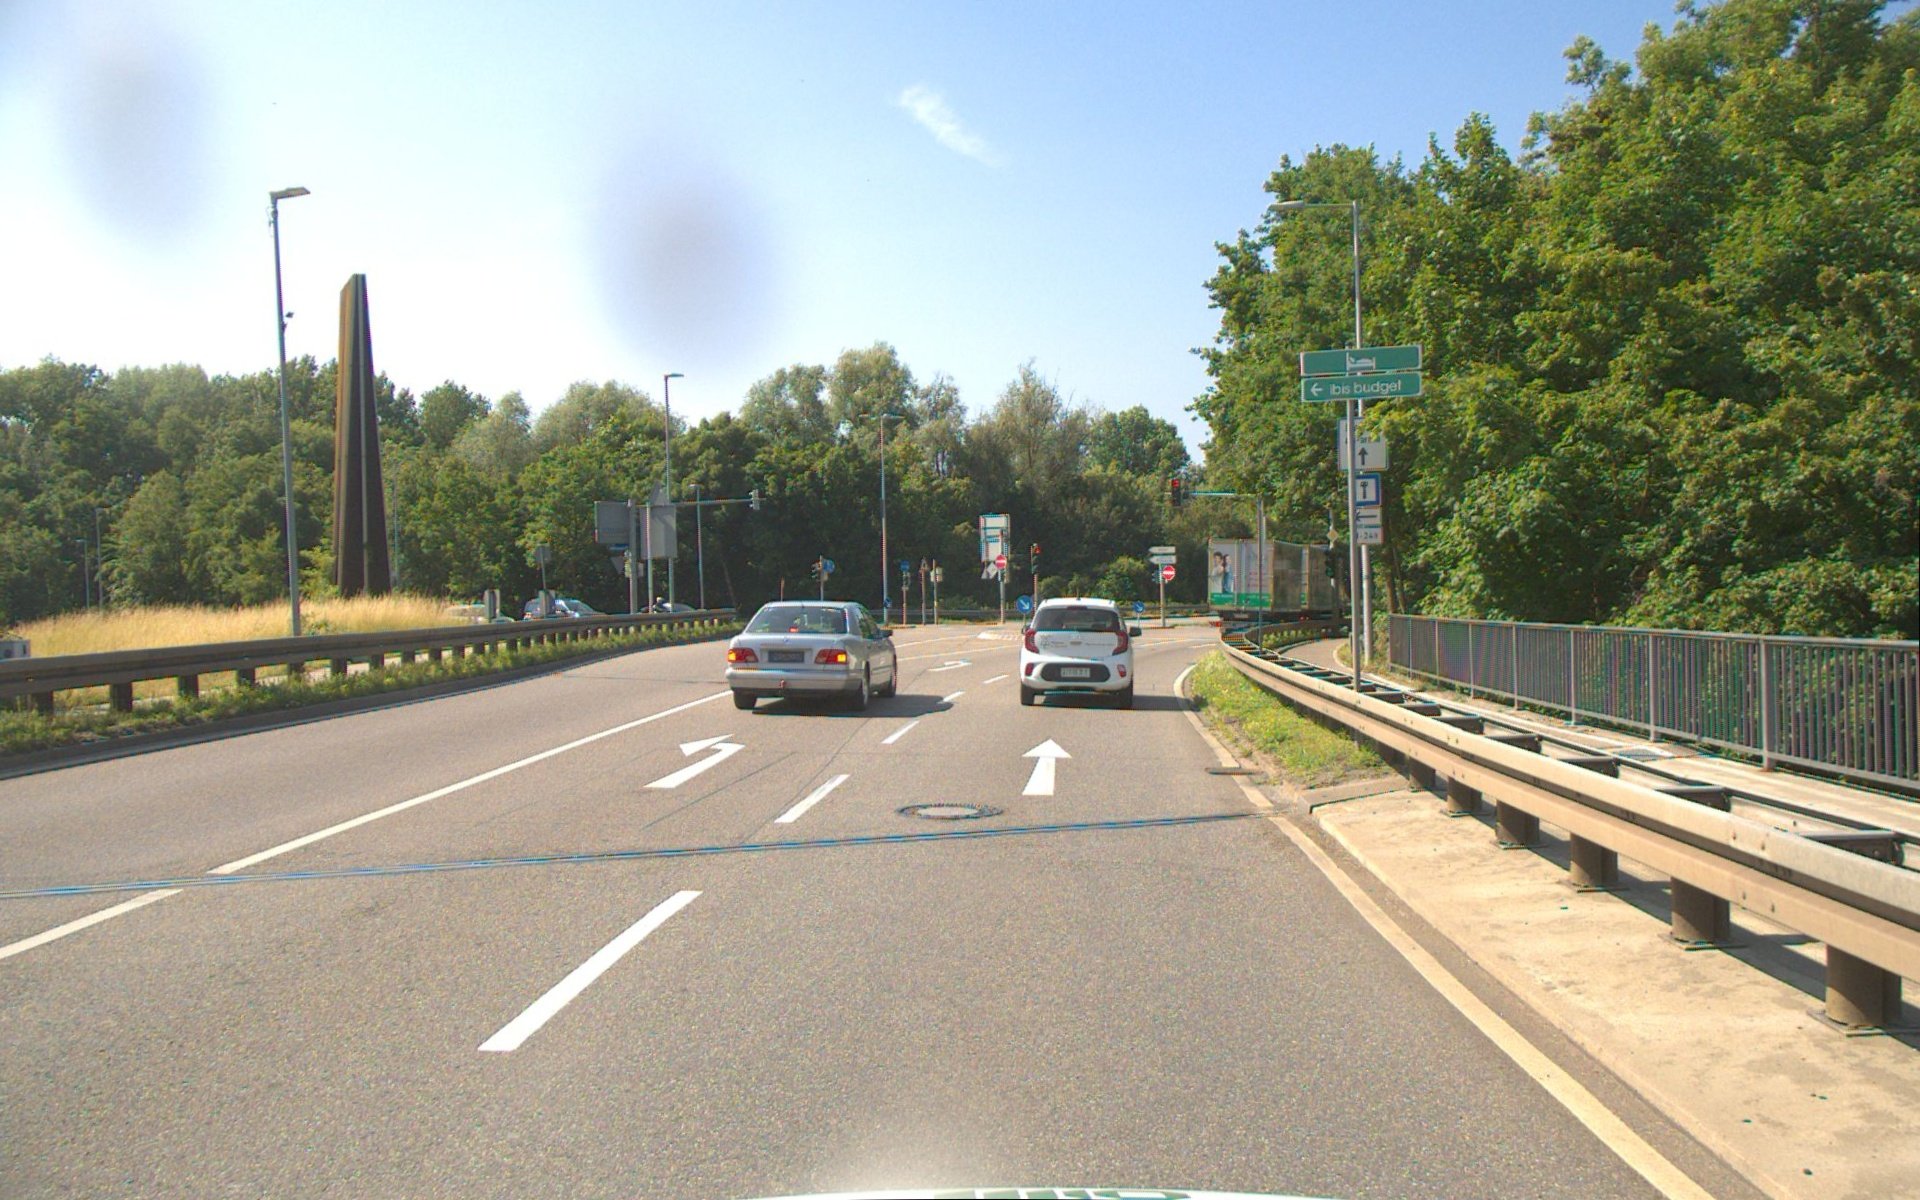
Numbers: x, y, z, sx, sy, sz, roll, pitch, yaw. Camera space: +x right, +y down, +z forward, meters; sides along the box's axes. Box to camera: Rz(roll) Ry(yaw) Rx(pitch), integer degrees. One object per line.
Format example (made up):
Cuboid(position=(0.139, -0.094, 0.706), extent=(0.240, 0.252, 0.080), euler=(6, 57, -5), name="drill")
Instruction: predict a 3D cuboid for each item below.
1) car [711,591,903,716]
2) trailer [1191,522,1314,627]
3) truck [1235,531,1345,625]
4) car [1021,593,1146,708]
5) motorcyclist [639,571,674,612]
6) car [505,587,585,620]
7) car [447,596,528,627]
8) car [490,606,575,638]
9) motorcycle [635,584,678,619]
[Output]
Cuboid(position=(-1.981, 0.647, 22.847), extent=(1.898, 1.512, 4.902), euler=(1, 0, 3), name="car")
Cuboid(position=(11.669, -0.947, 65.352), extent=(3.159, 3.823, 7.824), euler=(2, 1, 22), name="trailer")
Cuboid(position=(14.660, -0.922, 72.857), extent=(3.194, 3.823, 8.370), euler=(2, 1, 22), name="truck")
Cuboid(position=(1.830, 0.687, 24.456), extent=(1.666, 1.520, 4.002), euler=(1, 0, 5), name="car")
Cuboid(position=(-14.762, -0.405, 80.481), extent=(1.433, 1.903, 0.890), euler=(-4, -3, 32), name="motorcyclist")
Cuboid(position=(-20.759, 0.196, 82.704), extent=(3.918, 1.413, 1.761), euler=(-4, -4, 35), name="car")
Cuboid(position=(-24.860, 0.631, 86.966), extent=(3.918, 1.413, 2.116), euler=(-4, -4, 34), name="car")
Cuboid(position=(-21.603, 1.119, 83.497), extent=(3.918, 1.413, 2.116), euler=(-4, -4, 34), name="car")
Cuboid(position=(-14.749, 0.099, 80.436), extent=(1.941, 1.556, 0.897), euler=(-5, -3, 32), name="motorcycle")
